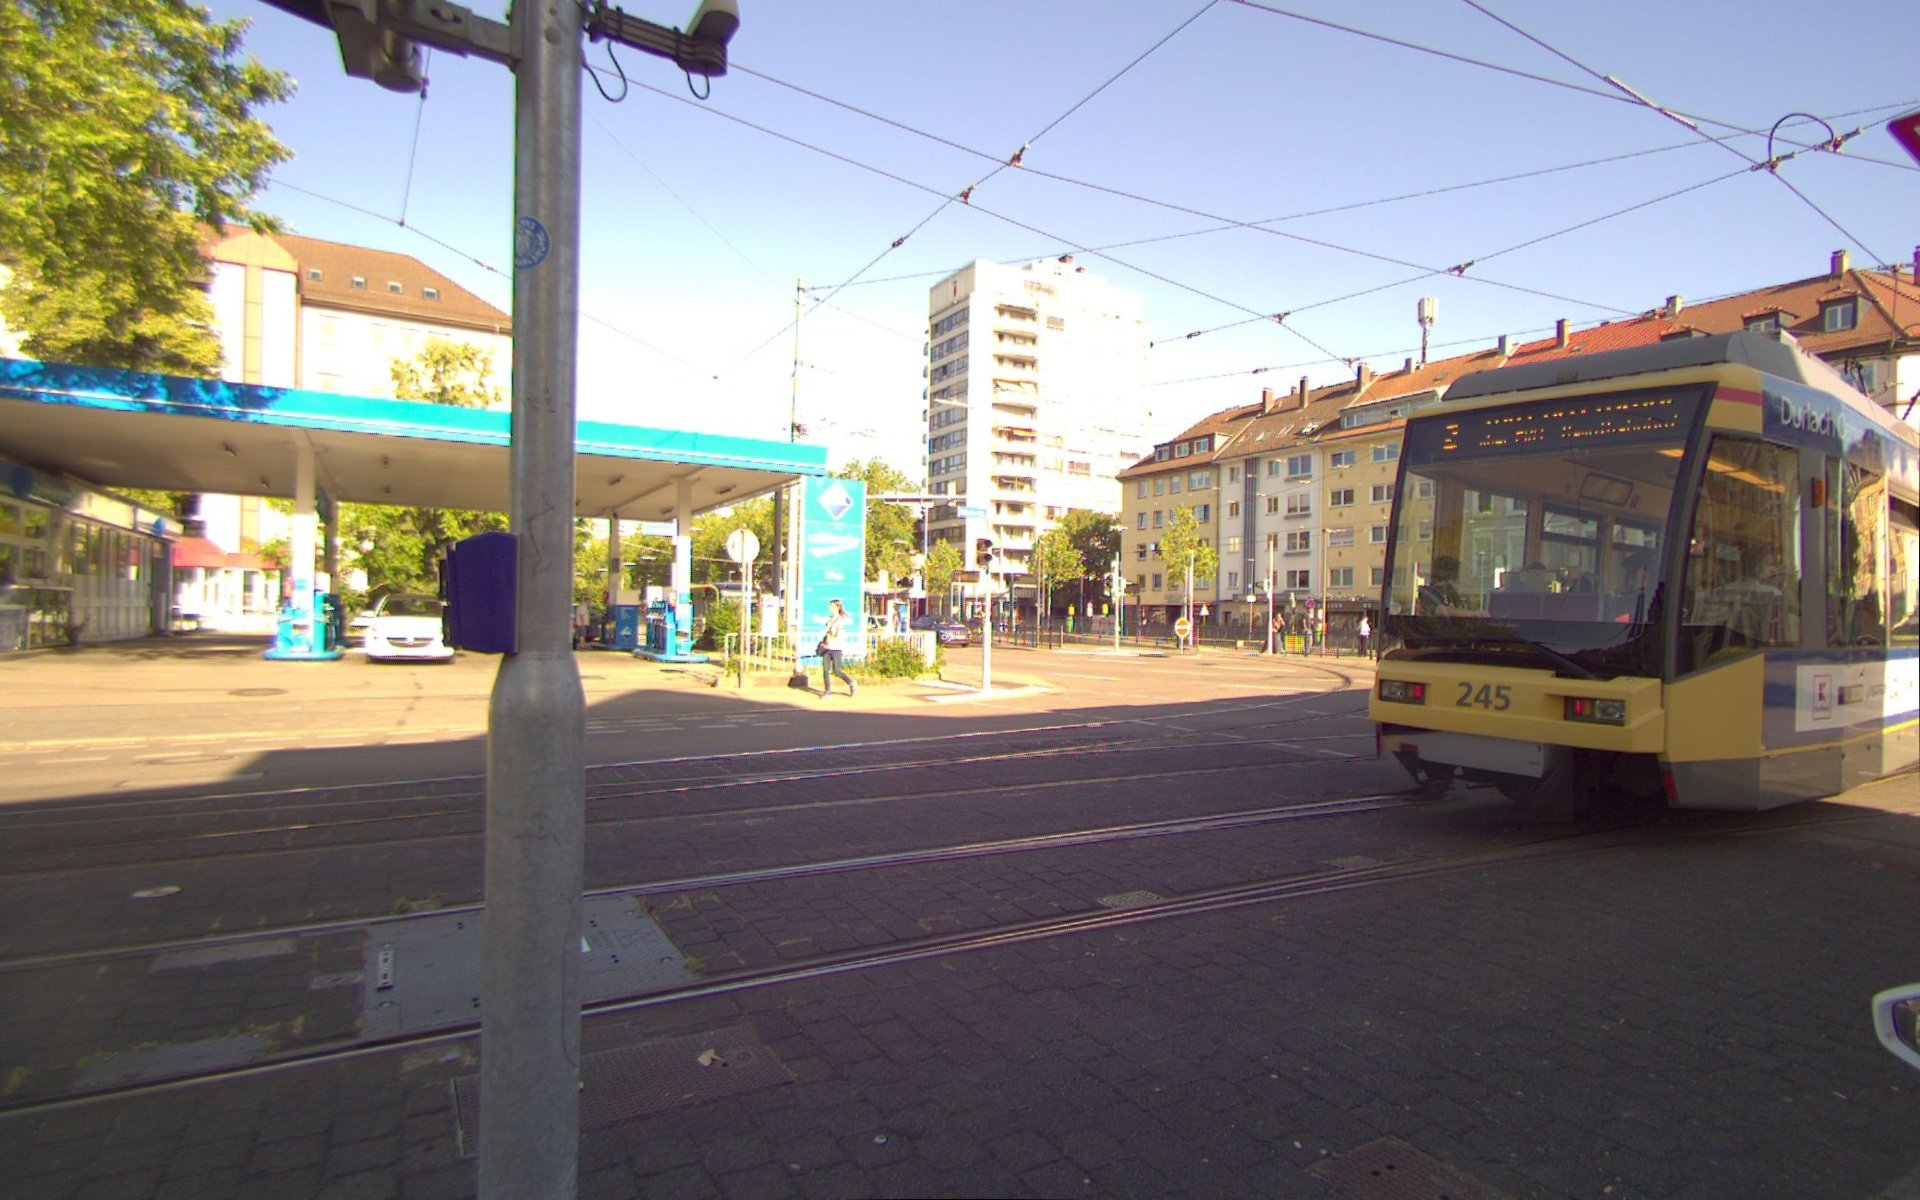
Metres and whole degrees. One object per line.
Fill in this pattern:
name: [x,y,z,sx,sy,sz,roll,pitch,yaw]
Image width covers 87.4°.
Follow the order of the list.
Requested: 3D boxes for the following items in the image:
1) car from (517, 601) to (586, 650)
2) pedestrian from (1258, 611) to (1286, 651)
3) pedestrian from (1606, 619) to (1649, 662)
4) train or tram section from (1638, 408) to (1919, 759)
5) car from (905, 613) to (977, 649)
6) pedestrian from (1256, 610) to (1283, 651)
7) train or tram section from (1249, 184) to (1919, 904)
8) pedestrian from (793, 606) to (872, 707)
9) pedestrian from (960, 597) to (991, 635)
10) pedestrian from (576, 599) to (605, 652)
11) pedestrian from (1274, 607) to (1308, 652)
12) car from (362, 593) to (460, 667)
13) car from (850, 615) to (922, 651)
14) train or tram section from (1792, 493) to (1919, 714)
car: [-13.464,0.811,33.006,1.725,1.431,4.061,5,-2,-26]
pedestrian: [12.877,1.254,41.384,0.924,1.619,1.008,0,-1,28]
pedestrian: [26.632,1.604,40.066,1.091,1.707,1.075,1,-1,-30]
train or tram section: [12.295,-0.088,13.650,8.389,3.546,2.792,1,-1,-39]
car: [-0.965,1.464,48.257,1.863,1.601,3.971,1,-1,-28]
pedestrian: [12.471,1.227,40.438,0.923,1.619,1.009,1,-1,24]
train or tram section: [6.005,-0.199,8.518,7.892,3.546,2.793,1,-1,-39]
pedestrian: [-2.148,0.932,16.944,0.706,1.641,1.100,0,-1,44]
pedestrian: [0.783,0.818,50.910,1.156,1.870,1.098,2,-1,-28]
pedestrian: [-11.907,0.820,32.368,0.800,1.647,1.158,1,1,-22]
pedestrian: [13.418,1.198,40.683,1.002,1.799,0.930,2,-1,-42]
car: [-12.327,0.644,22.525,1.760,1.483,3.968,1,-1,-30]
car: [-3.492,1.501,46.729,1.863,1.601,3.971,1,-1,-28]
train or tram section: [19.064,0.166,20.809,2.737,3.546,11.975,0,-1,39]
